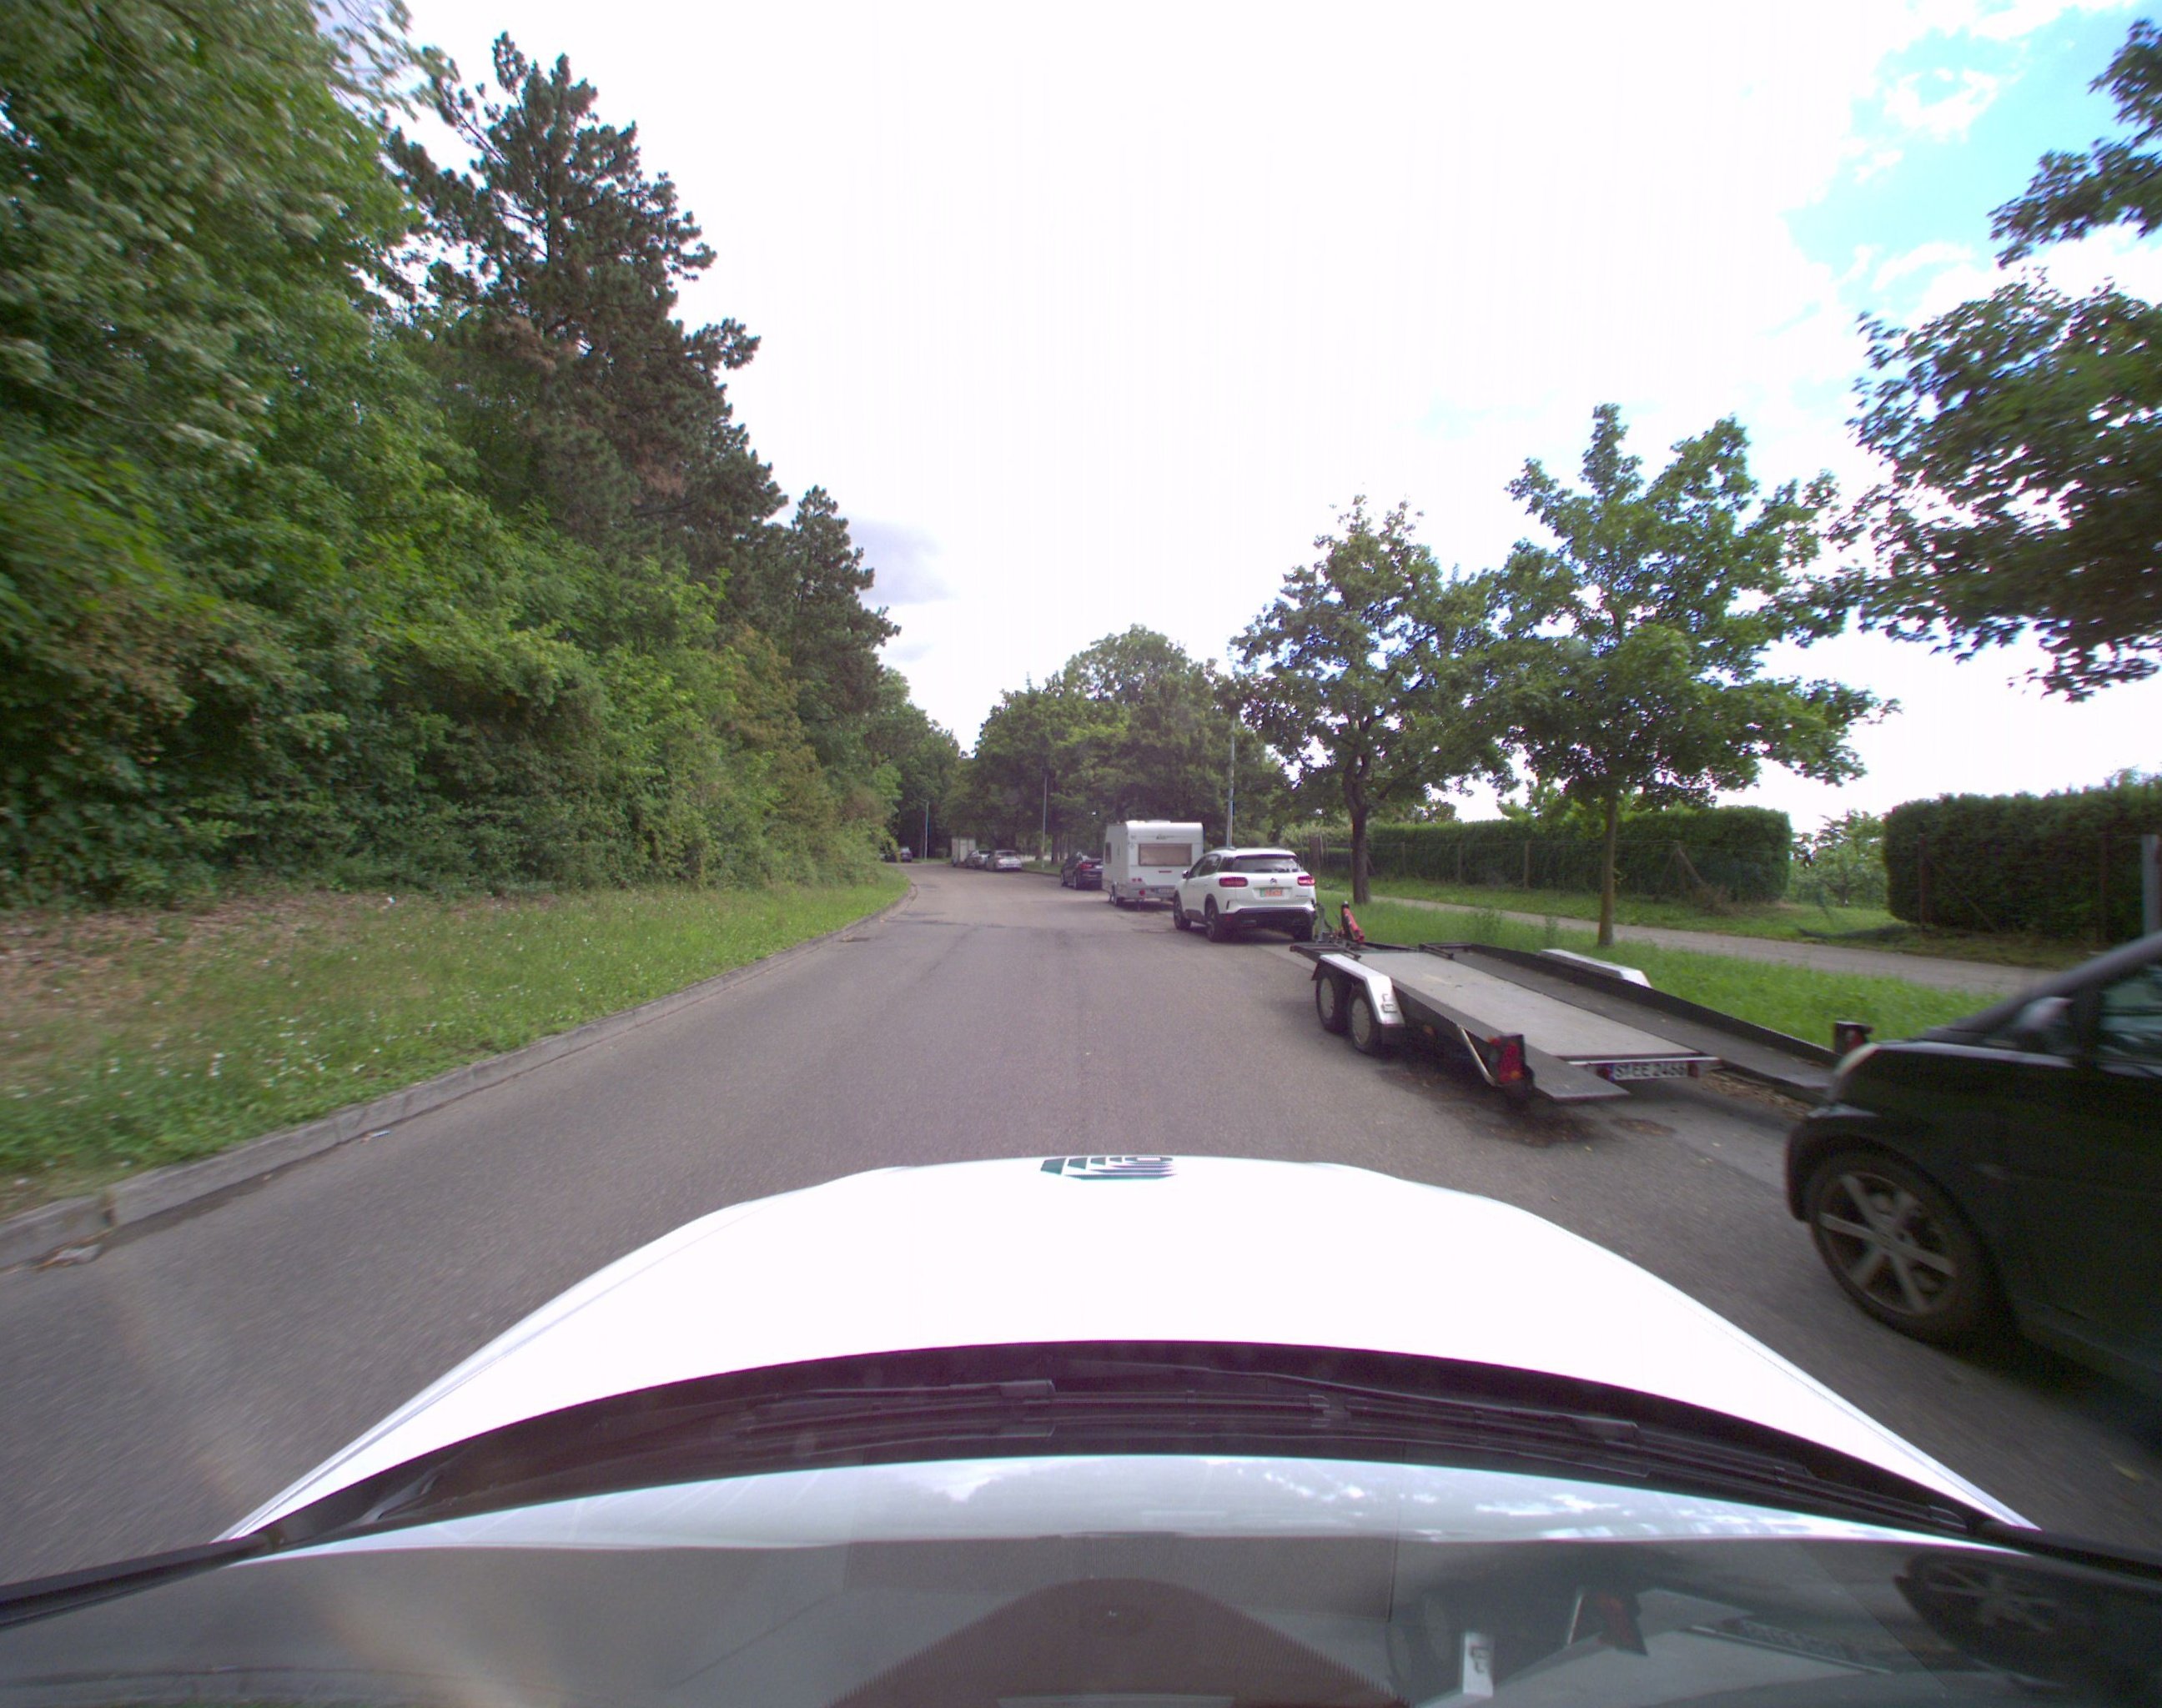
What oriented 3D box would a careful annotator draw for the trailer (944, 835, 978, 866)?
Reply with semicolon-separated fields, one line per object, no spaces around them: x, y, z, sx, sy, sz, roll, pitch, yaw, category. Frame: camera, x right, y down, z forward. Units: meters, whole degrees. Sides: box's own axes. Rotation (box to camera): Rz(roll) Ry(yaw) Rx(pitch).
-9.721;-0.315;65.963;1.769;2.427;3.856;0;0;-24;trailer

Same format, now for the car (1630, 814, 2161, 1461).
3.416;0.683;2.084;1.724;1.522;3.403;1;-1;-1;car

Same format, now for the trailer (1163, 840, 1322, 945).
2.967;0.685;16.046;1.770;1.731;4.640;-1;-1;-6;trailer

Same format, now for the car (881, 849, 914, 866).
-18.664;0.391;82.810;1.787;1.663;4.792;2;-2;-31;car

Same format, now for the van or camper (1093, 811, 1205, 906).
1.907;0.152;25.159;2.160;2.536;6.014;1;-1;-8;van or camper

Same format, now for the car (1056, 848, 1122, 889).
0.268;0.582;35.181;1.850;1.643;4.510;0;0;-13;car

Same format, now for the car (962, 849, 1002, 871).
-7.496;0.437;61.065;1.749;1.525;4.599;0;0;-23;car

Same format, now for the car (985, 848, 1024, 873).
-5.171;0.465;54.777;1.906;1.477;4.036;2;-2;-16;car

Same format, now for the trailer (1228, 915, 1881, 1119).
3.167;1.123;7.593;2.100;0.651;6.393;1;-1;-3;trailer
